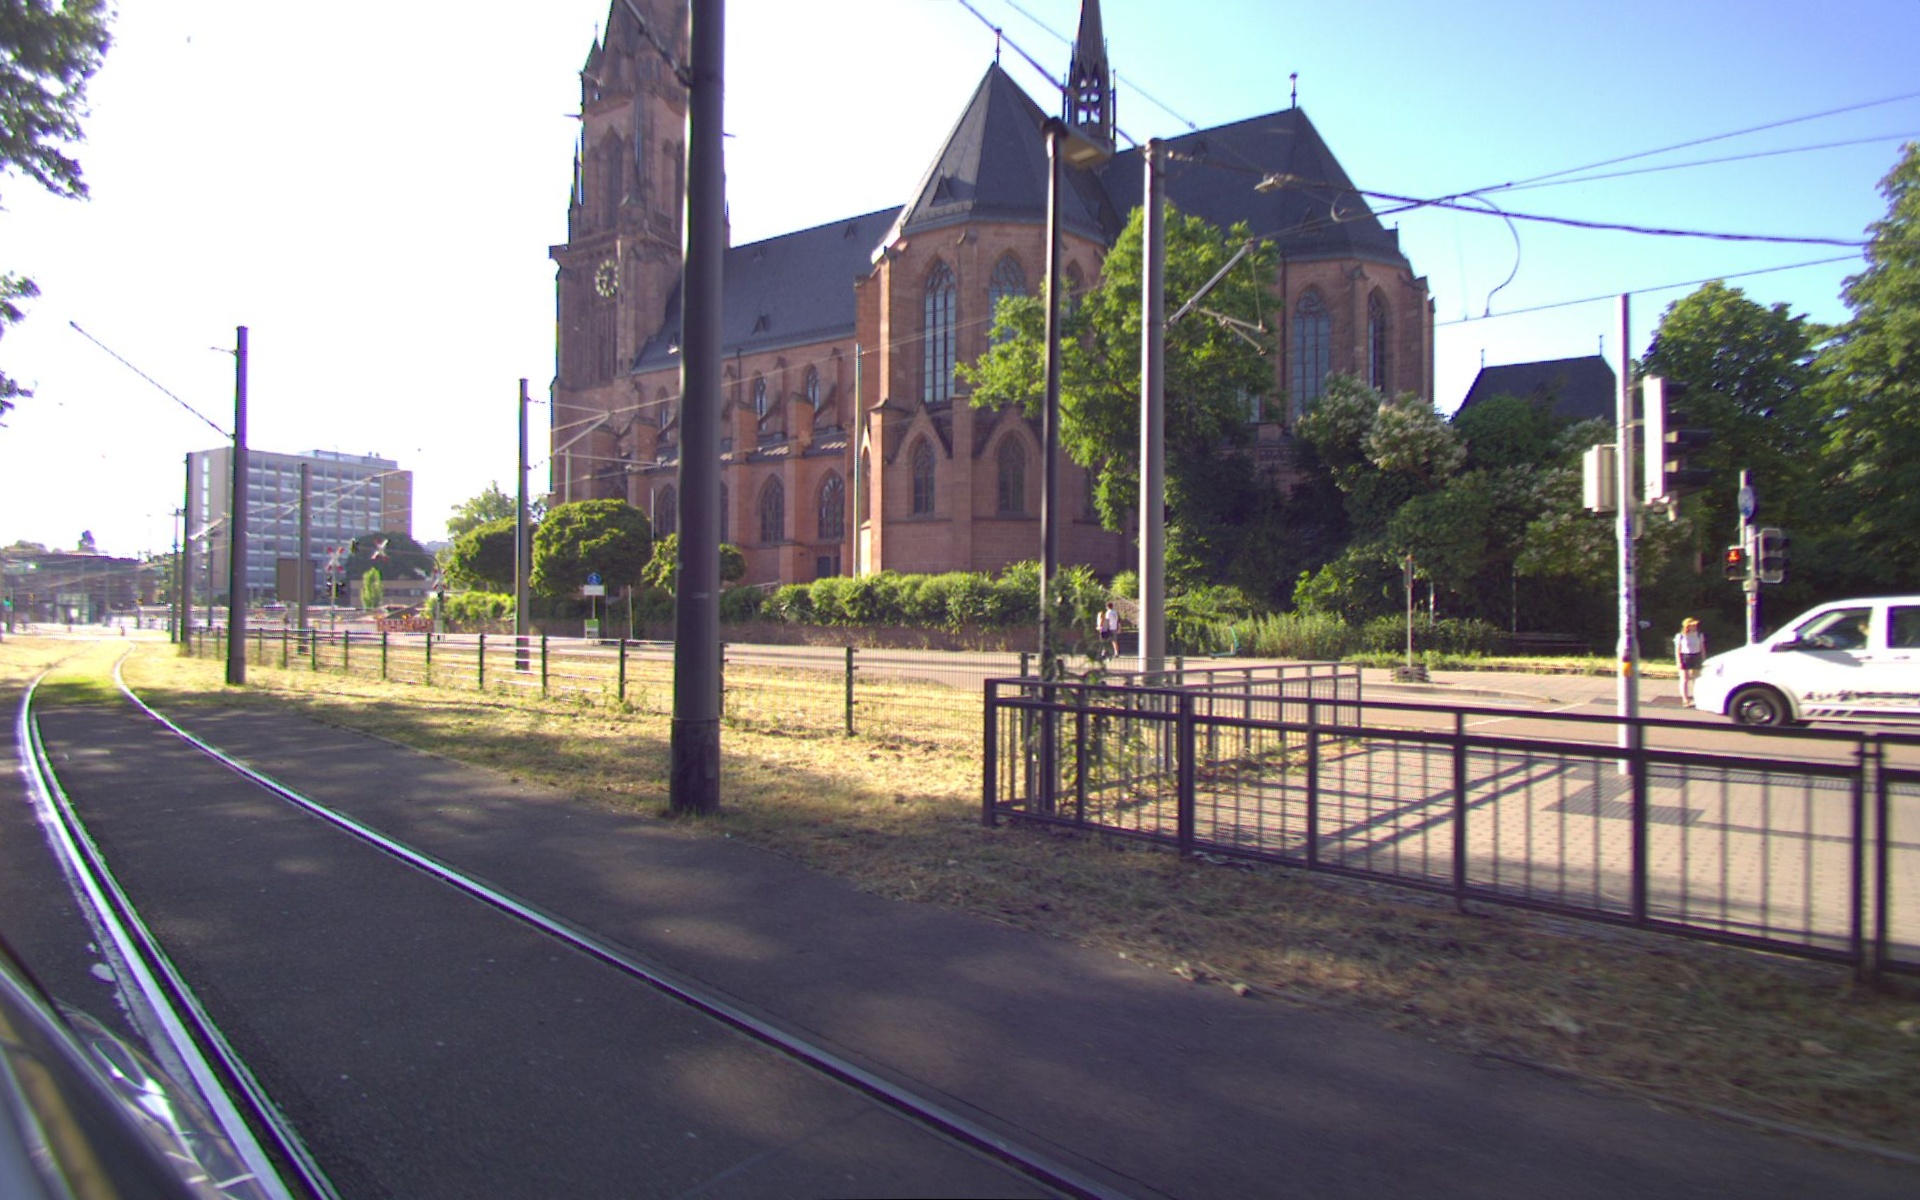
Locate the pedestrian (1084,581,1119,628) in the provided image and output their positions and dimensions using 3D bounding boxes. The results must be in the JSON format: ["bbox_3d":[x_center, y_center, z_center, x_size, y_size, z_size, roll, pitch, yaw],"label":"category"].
[{"bbox_3d":[4.639,0.149,33.142,0.946,1.500,0.580,0,2,39],"label":"pedestrian"}]

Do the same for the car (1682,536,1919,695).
[{"bbox_3d":[12.978,0.236,13.565,1.968,2.029,5.022,3,-2,-39],"label":"car"}]

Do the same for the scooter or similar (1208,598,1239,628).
[{"bbox_3d":[8.490,0.421,32.624,0.914,0.943,0.306,-1,1,21],"label":"scooter or similar"}]

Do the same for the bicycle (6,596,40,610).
[{"bbox_3d":[-80.436,0.283,86.870,2.032,1.091,0.612,-2,2,-30],"label":"bicycle"}]

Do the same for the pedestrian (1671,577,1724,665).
[{"bbox_3d":[14.351,0.398,19.708,0.752,1.685,0.490,-1,2,28],"label":"pedestrian"}]

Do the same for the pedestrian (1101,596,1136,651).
[{"bbox_3d":[5.309,0.775,33.854,0.946,1.797,0.580,0,2,39],"label":"pedestrian"}]

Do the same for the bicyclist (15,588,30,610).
[{"bbox_3d":[-80.437,-0.117,86.846,0.763,1.885,0.612,-2,2,-30],"label":"bicyclist"}]
